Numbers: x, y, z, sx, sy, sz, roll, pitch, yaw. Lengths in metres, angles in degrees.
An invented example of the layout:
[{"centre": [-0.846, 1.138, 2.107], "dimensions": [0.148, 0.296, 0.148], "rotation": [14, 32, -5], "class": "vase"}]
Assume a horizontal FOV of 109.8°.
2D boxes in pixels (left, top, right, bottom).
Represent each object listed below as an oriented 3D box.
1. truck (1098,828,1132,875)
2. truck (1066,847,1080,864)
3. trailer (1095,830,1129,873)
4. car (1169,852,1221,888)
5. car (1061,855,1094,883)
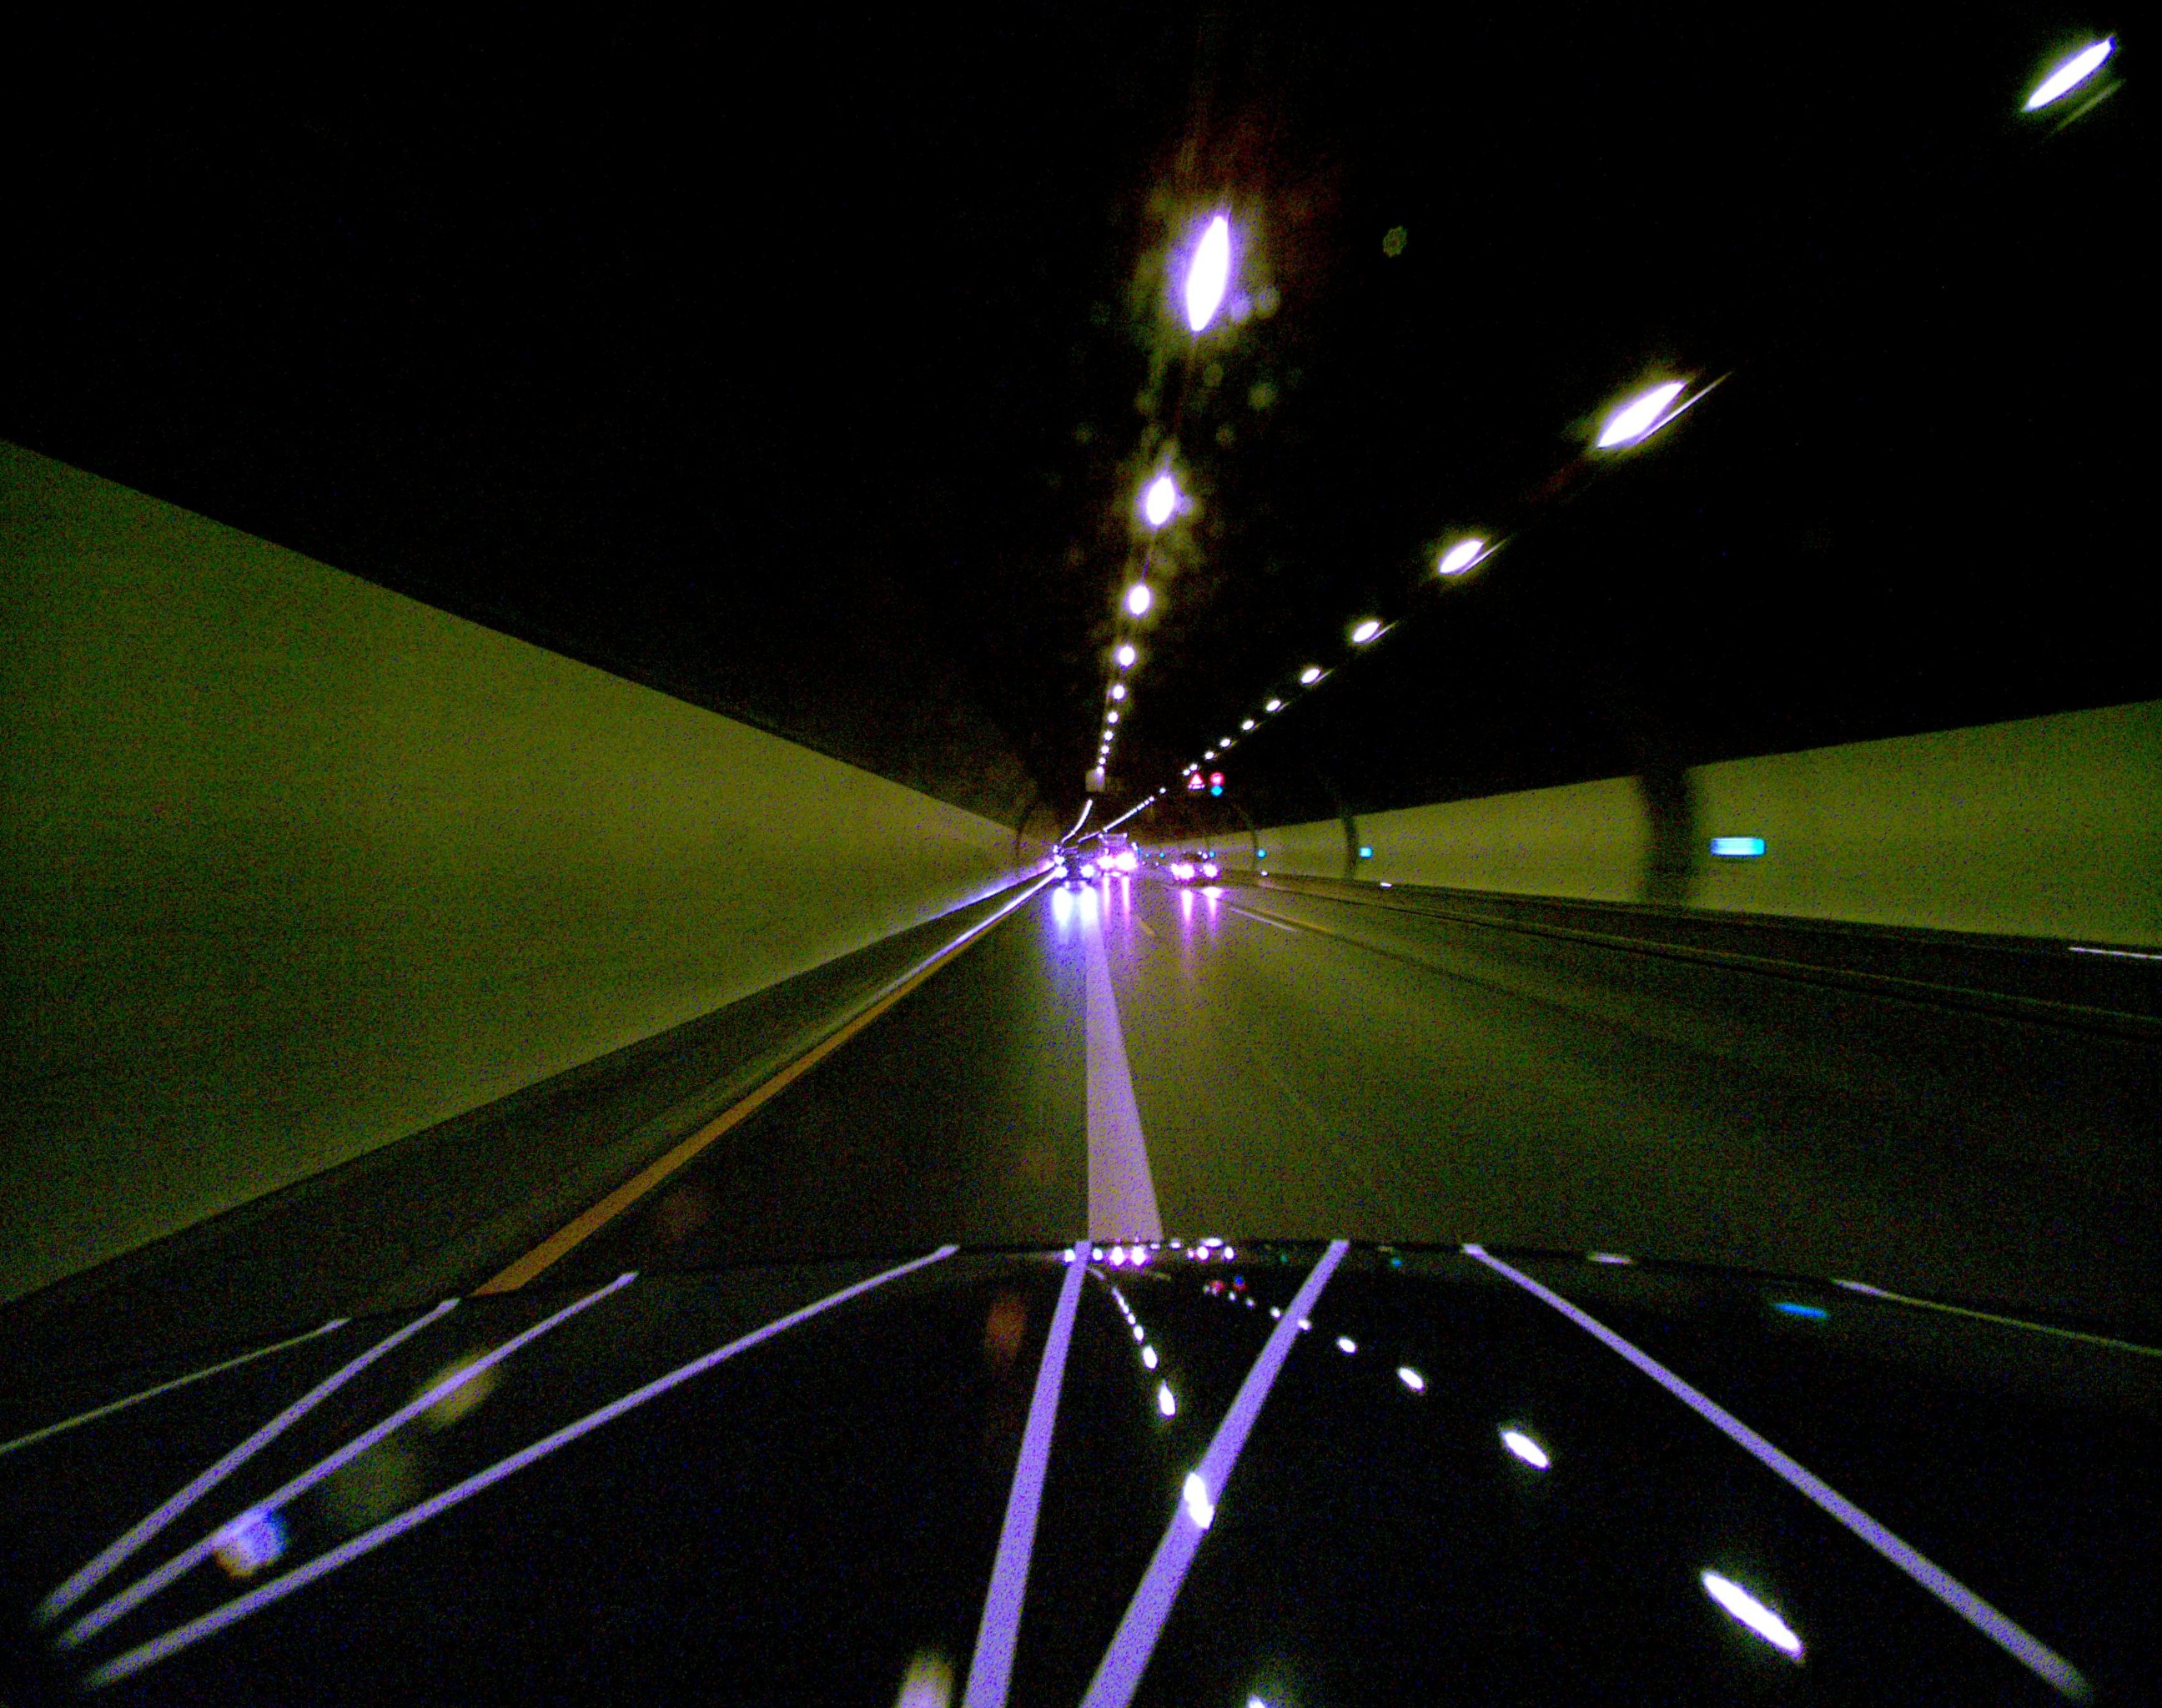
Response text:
[{"centre": [2.619, -0.195, 58.797], "dimensions": [2.374, 3.328, 4.719], "rotation": [-3, 0, 2], "class": "truck"}, {"centre": [-1.301, 0.277, 124.668], "dimensions": [2.151, 2.608, 9.907], "rotation": [-1, -1, -1], "class": "truck"}, {"centre": [2.510, -0.183, 65.445], "dimensions": [2.374, 3.328, 12.077], "rotation": [0, 0, 0], "class": "trailer"}, {"centre": [5.474, 0.718, 36.842], "dimensions": [1.766, 1.563, 4.096], "rotation": [-1, 1, -1], "class": "car"}, {"centre": [-0.165, 0.828, 42.852], "dimensions": [1.728, 1.474, 4.000], "rotation": [-1, 0, 1], "class": "car"}]
